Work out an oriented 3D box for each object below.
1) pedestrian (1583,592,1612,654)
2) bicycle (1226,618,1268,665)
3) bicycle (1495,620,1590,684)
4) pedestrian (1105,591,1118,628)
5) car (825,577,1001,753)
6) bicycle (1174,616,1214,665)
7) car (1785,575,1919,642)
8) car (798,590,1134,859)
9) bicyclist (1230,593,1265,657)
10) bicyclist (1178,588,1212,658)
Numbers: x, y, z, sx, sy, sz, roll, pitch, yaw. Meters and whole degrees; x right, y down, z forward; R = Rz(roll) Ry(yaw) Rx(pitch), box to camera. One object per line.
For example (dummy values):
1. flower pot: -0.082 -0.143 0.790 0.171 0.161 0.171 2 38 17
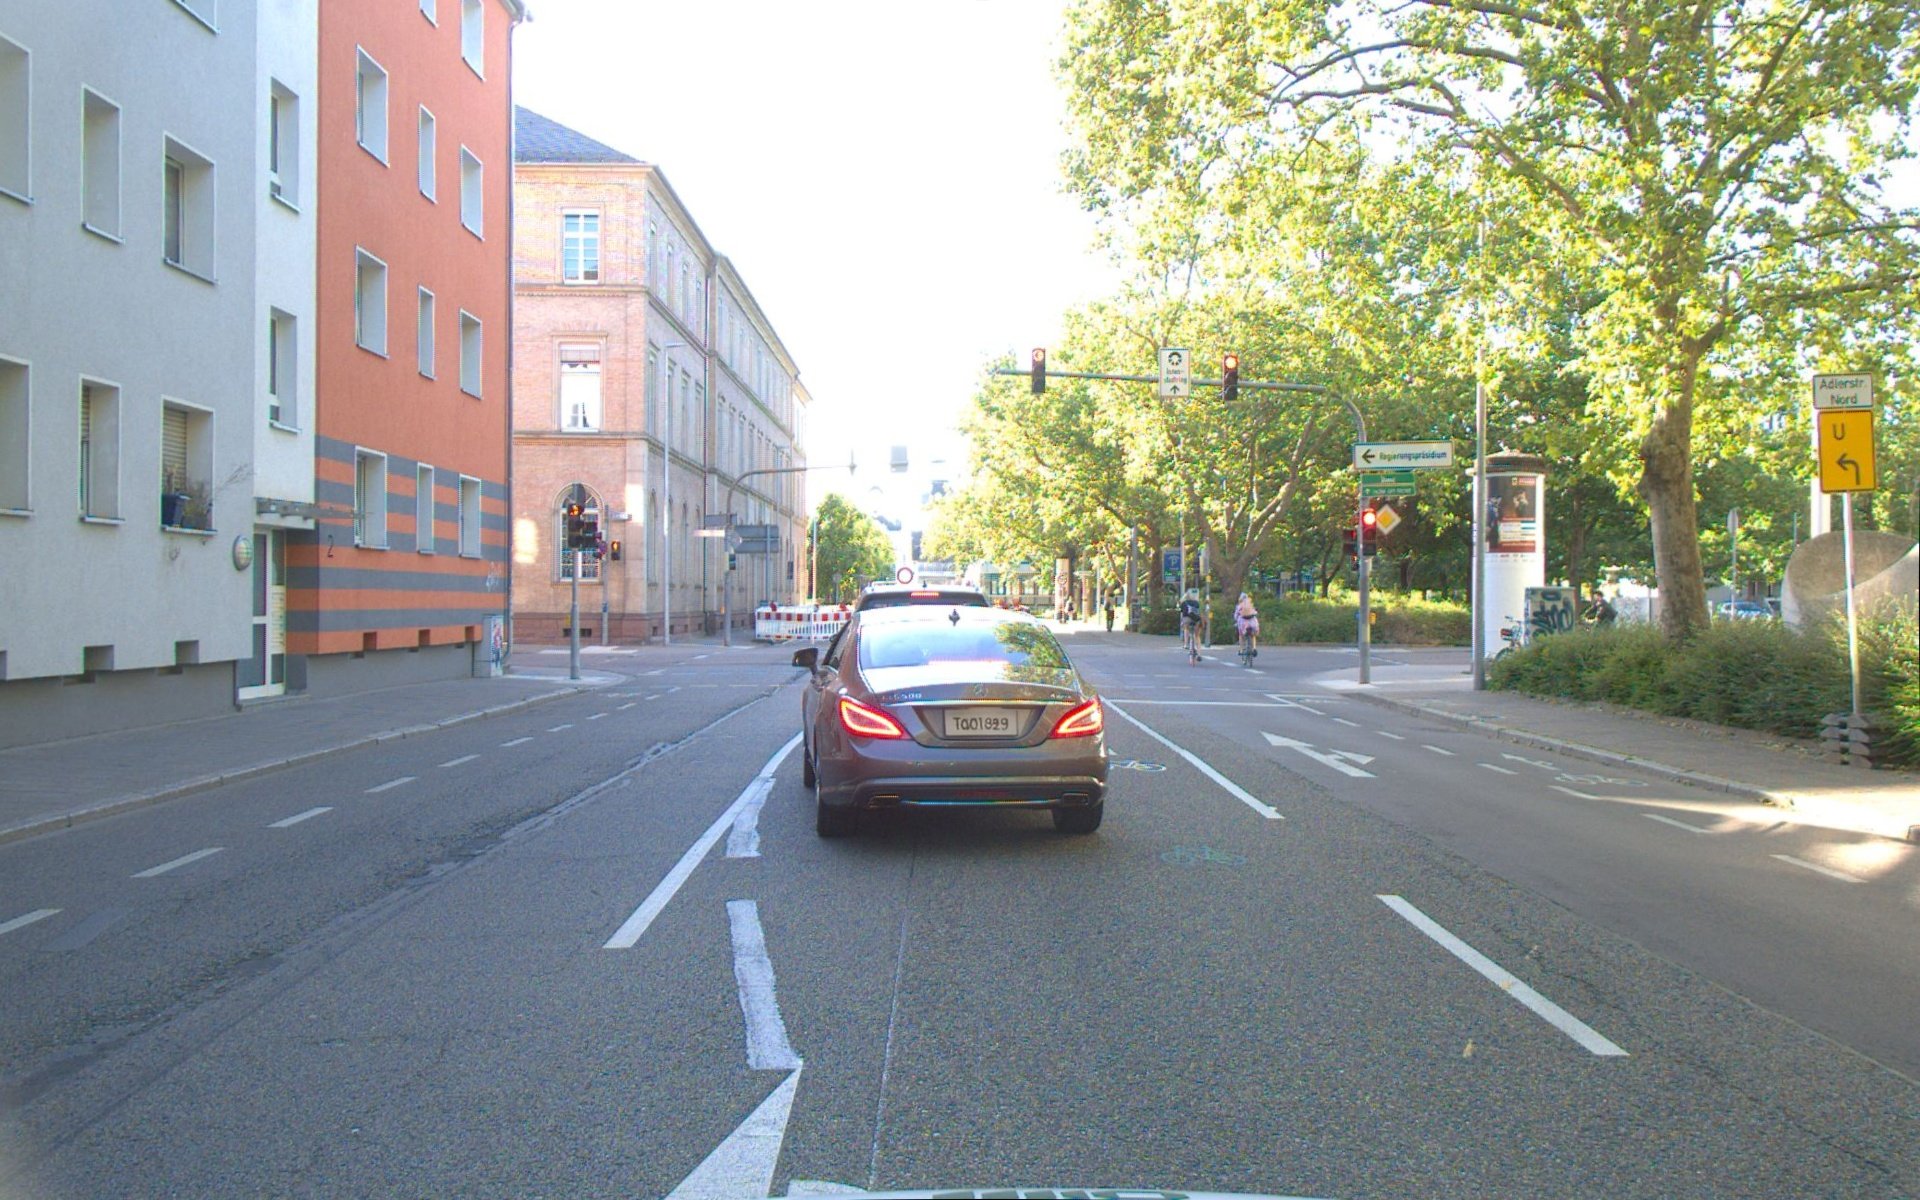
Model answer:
1. pedestrian: 18.668 0.668 48.468 0.607 1.815 0.630 0 0 1
2. bicycle: 6.532 0.925 37.712 0.588 1.002 1.881 2 0 -1
3. bicycle: 9.697 0.863 27.540 1.387 1.055 0.538 0 0 -5
4. pedestrian: 6.950 0.427 75.817 0.548 1.707 0.564 0 0 -1
5. car: -0.505 0.611 17.465 1.647 1.653 3.839 0 0 -2
6. bicycle: 5.296 0.895 37.508 0.598 1.044 1.731 2 0 -1
7. car: 25.568 0.239 46.364 3.912 1.815 2.001 0 0 4
8. car: -0.165 0.697 11.541 1.787 1.502 4.346 0 0 -7
9. bicyclist: 6.545 0.565 37.661 0.588 1.426 0.931 2 0 -1
10. bicyclist: 5.312 0.519 37.450 0.598 1.542 0.889 2 0 -1
